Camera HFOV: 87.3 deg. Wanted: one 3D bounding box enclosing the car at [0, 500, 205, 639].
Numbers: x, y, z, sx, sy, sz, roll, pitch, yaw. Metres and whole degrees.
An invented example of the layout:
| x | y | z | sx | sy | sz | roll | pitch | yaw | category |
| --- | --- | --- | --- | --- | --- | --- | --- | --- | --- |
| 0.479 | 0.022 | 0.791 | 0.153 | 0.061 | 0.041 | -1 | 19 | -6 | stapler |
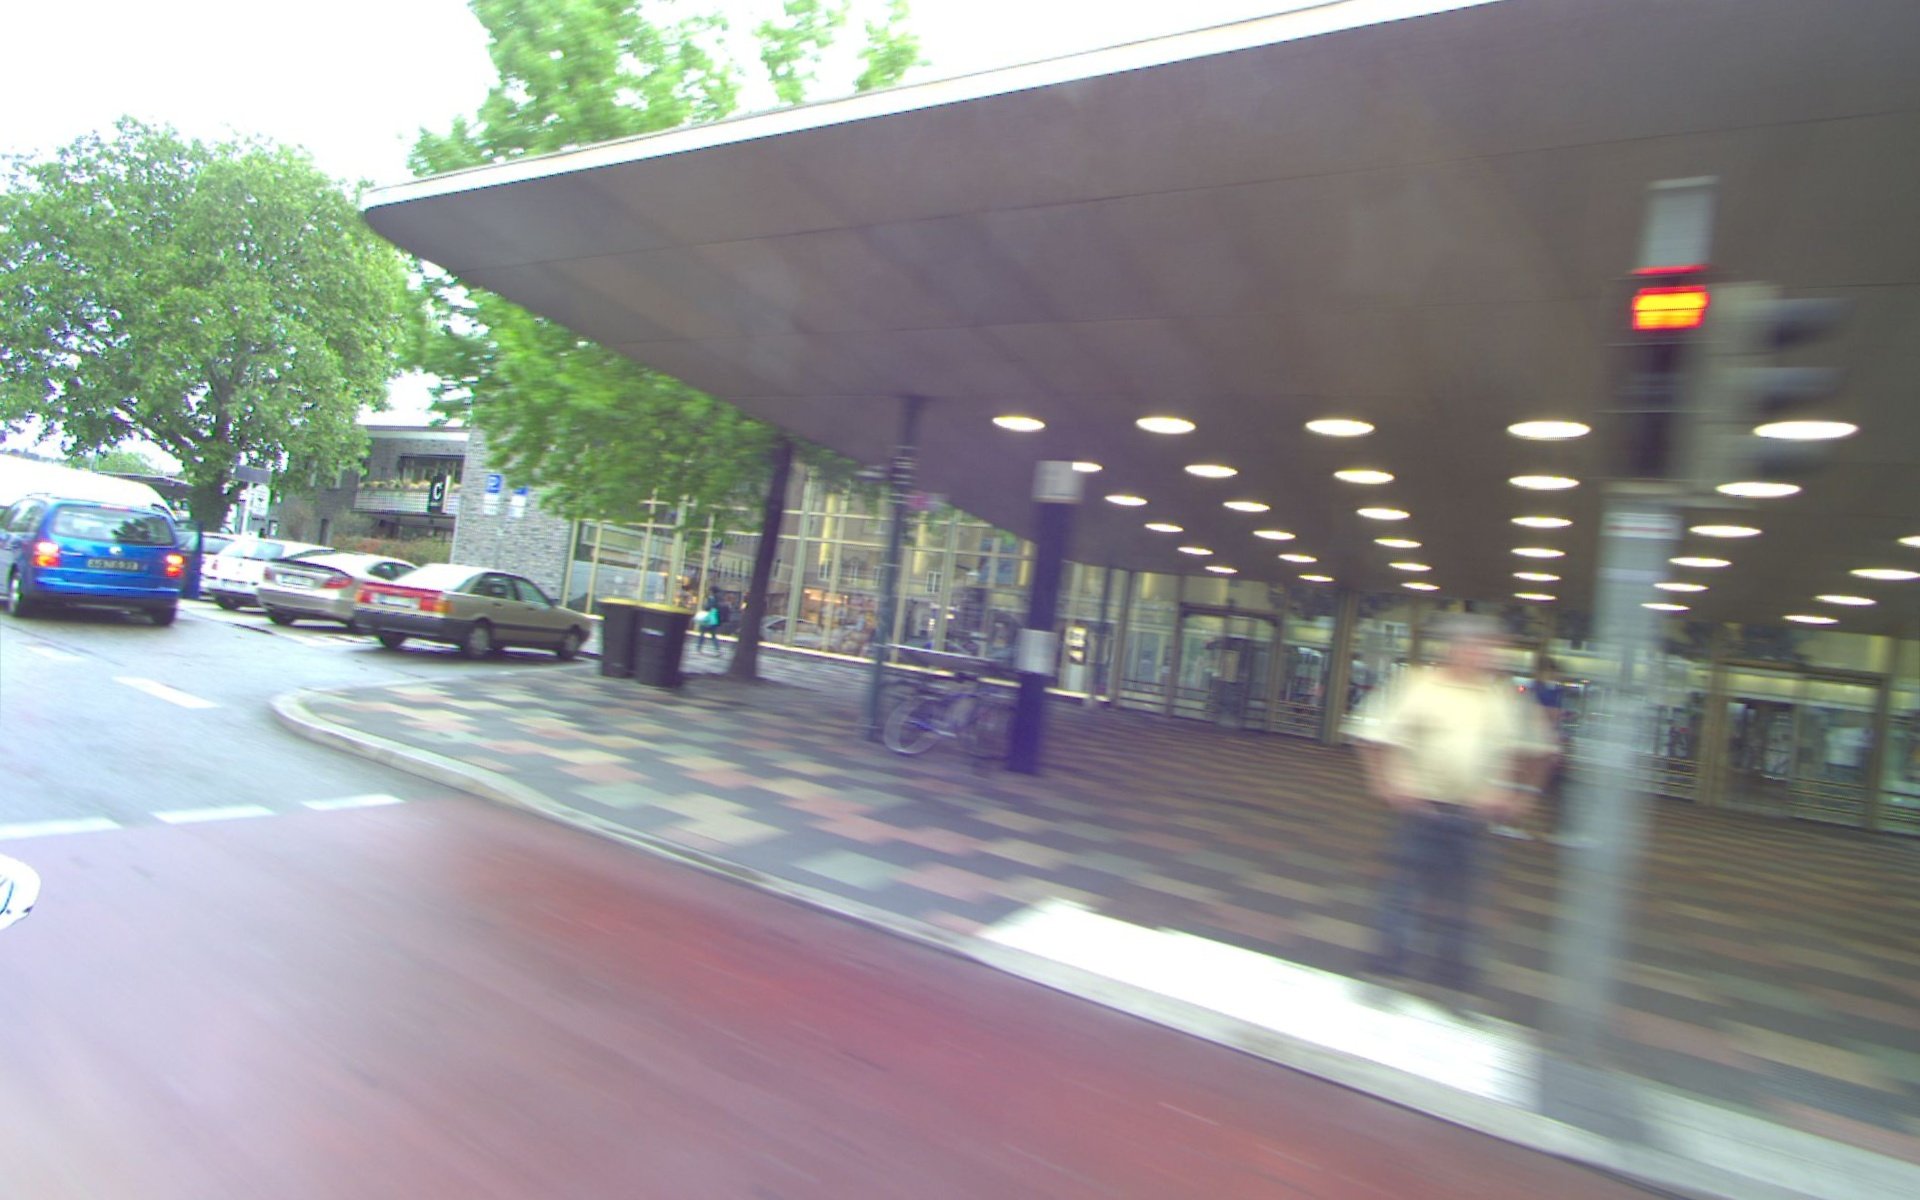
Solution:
| x | y | z | sx | sy | sz | roll | pitch | yaw | category |
| --- | --- | --- | --- | --- | --- | --- | --- | --- | --- |
| -12.661 | -0.488 | 14.320 | 3.938 | 1.588 | 1.860 | 6 | -1 | 35 | car |

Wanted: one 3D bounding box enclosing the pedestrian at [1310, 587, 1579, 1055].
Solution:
| x | y | z | sx | sy | sz | roll | pitch | yaw | category |
| --- | --- | --- | --- | --- | --- | --- | --- | --- | --- |
| 2.093 | 0.885 | 4.436 | 0.821 | 1.768 | 0.748 | 6 | 0 | 23 | pedestrian |

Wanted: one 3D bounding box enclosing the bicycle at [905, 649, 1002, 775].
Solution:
| x | y | z | sx | sy | sz | roll | pitch | yaw | category |
| --- | --- | --- | --- | --- | --- | --- | --- | --- | --- |
| -0.022 | 1.032 | 9.803 | 0.412 | 1.068 | 1.835 | 6 | -1 | 13 | bicycle |

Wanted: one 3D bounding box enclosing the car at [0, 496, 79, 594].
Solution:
| x | y | z | sx | sy | sz | roll | pitch | yaw | category |
| --- | --- | --- | --- | --- | --- | --- | --- | --- | --- |
| -17.349 | -1.084 | 17.828 | 3.625 | 1.541 | 1.788 | 6 | -1 | 36 | car |

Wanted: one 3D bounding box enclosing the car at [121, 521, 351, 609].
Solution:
| x | y | z | sx | sy | sz | roll | pitch | yaw | category |
| --- | --- | --- | --- | --- | --- | --- | --- | --- | --- |
| -15.692 | -0.688 | 22.106 | 1.829 | 1.460 | 4.003 | 6 | -1 | 5 | car |

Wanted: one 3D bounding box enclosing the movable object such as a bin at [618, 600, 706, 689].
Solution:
| x | y | z | sx | sy | sz | roll | pitch | yaw | category |
| --- | --- | --- | --- | --- | --- | --- | --- | --- | --- |
| -4.002 | 0.596 | 13.556 | 0.735 | 1.080 | 0.753 | 6 | 1 | 23 | movable object such as a bin |

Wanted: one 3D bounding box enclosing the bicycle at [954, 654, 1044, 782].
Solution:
| x | y | z | sx | sy | sz | roll | pitch | yaw | category |
| --- | --- | --- | --- | --- | --- | --- | --- | --- | --- |
| 0.409 | 1.077 | 9.667 | 0.412 | 1.068 | 1.835 | 6 | -2 | 13 | bicycle |

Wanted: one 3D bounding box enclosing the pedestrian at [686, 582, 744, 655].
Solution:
| x | y | z | sx | sy | sz | roll | pitch | yaw | category |
| --- | --- | --- | --- | --- | --- | --- | --- | --- | --- |
| -5.628 | 0.437 | 23.124 | 0.799 | 1.578 | 0.867 | 6 | 1 | 24 | pedestrian |

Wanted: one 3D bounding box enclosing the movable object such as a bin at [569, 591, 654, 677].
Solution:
| x | y | z | sx | sy | sz | roll | pitch | yaw | category |
| --- | --- | --- | --- | --- | --- | --- | --- | --- | --- |
| -4.917 | 0.486 | 14.231 | 0.735 | 1.109 | 0.753 | 6 | 1 | 19 | movable object such as a bin |

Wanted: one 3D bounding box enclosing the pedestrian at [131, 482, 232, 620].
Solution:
| x | y | z | sx | sy | sz | roll | pitch | yaw | category |
| --- | --- | --- | --- | --- | --- | --- | --- | --- | --- |
| -12.230 | -0.758 | 15.812 | 0.874 | 2.039 | 0.833 | 6 | 1 | 27 | pedestrian |

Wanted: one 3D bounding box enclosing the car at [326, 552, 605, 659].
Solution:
| x | y | z | sx | sy | sz | roll | pitch | yaw | category |
| --- | --- | --- | --- | --- | --- | --- | --- | --- | --- |
| -7.833 | 0.173 | 16.459 | 1.805 | 1.341 | 4.203 | 6 | -2 | 12 | car |

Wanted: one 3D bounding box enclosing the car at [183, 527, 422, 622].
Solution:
| x | y | z | sx | sy | sz | roll | pitch | yaw | category |
| --- | --- | --- | --- | --- | --- | --- | --- | --- | --- |
| -12.992 | -0.414 | 20.225 | 1.829 | 1.460 | 4.003 | 6 | -1 | 5 | car |

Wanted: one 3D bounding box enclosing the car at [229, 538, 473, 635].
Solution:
| x | y | z | sx | sy | sz | roll | pitch | yaw | category |
| --- | --- | --- | --- | --- | --- | --- | --- | --- | --- |
| -10.876 | -0.159 | 18.364 | 1.830 | 1.375 | 4.002 | 6 | -1 | 1 | car |

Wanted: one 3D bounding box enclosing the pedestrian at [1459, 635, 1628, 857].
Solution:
| x | y | z | sx | sy | sz | roll | pitch | yaw | category |
| --- | --- | --- | --- | --- | --- | --- | --- | --- | --- |
| 5.529 | 1.336 | 9.573 | 1.170 | 1.857 | 0.857 | 6 | 0 | 31 | pedestrian |

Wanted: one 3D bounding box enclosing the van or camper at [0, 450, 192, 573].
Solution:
| x | y | z | sx | sy | sz | roll | pitch | yaw | category |
| --- | --- | --- | --- | --- | --- | --- | --- | --- | --- |
| -24.554 | -2.375 | 27.394 | 2.157 | 2.797 | 5.968 | 6 | 0 | 5 | van or camper |
